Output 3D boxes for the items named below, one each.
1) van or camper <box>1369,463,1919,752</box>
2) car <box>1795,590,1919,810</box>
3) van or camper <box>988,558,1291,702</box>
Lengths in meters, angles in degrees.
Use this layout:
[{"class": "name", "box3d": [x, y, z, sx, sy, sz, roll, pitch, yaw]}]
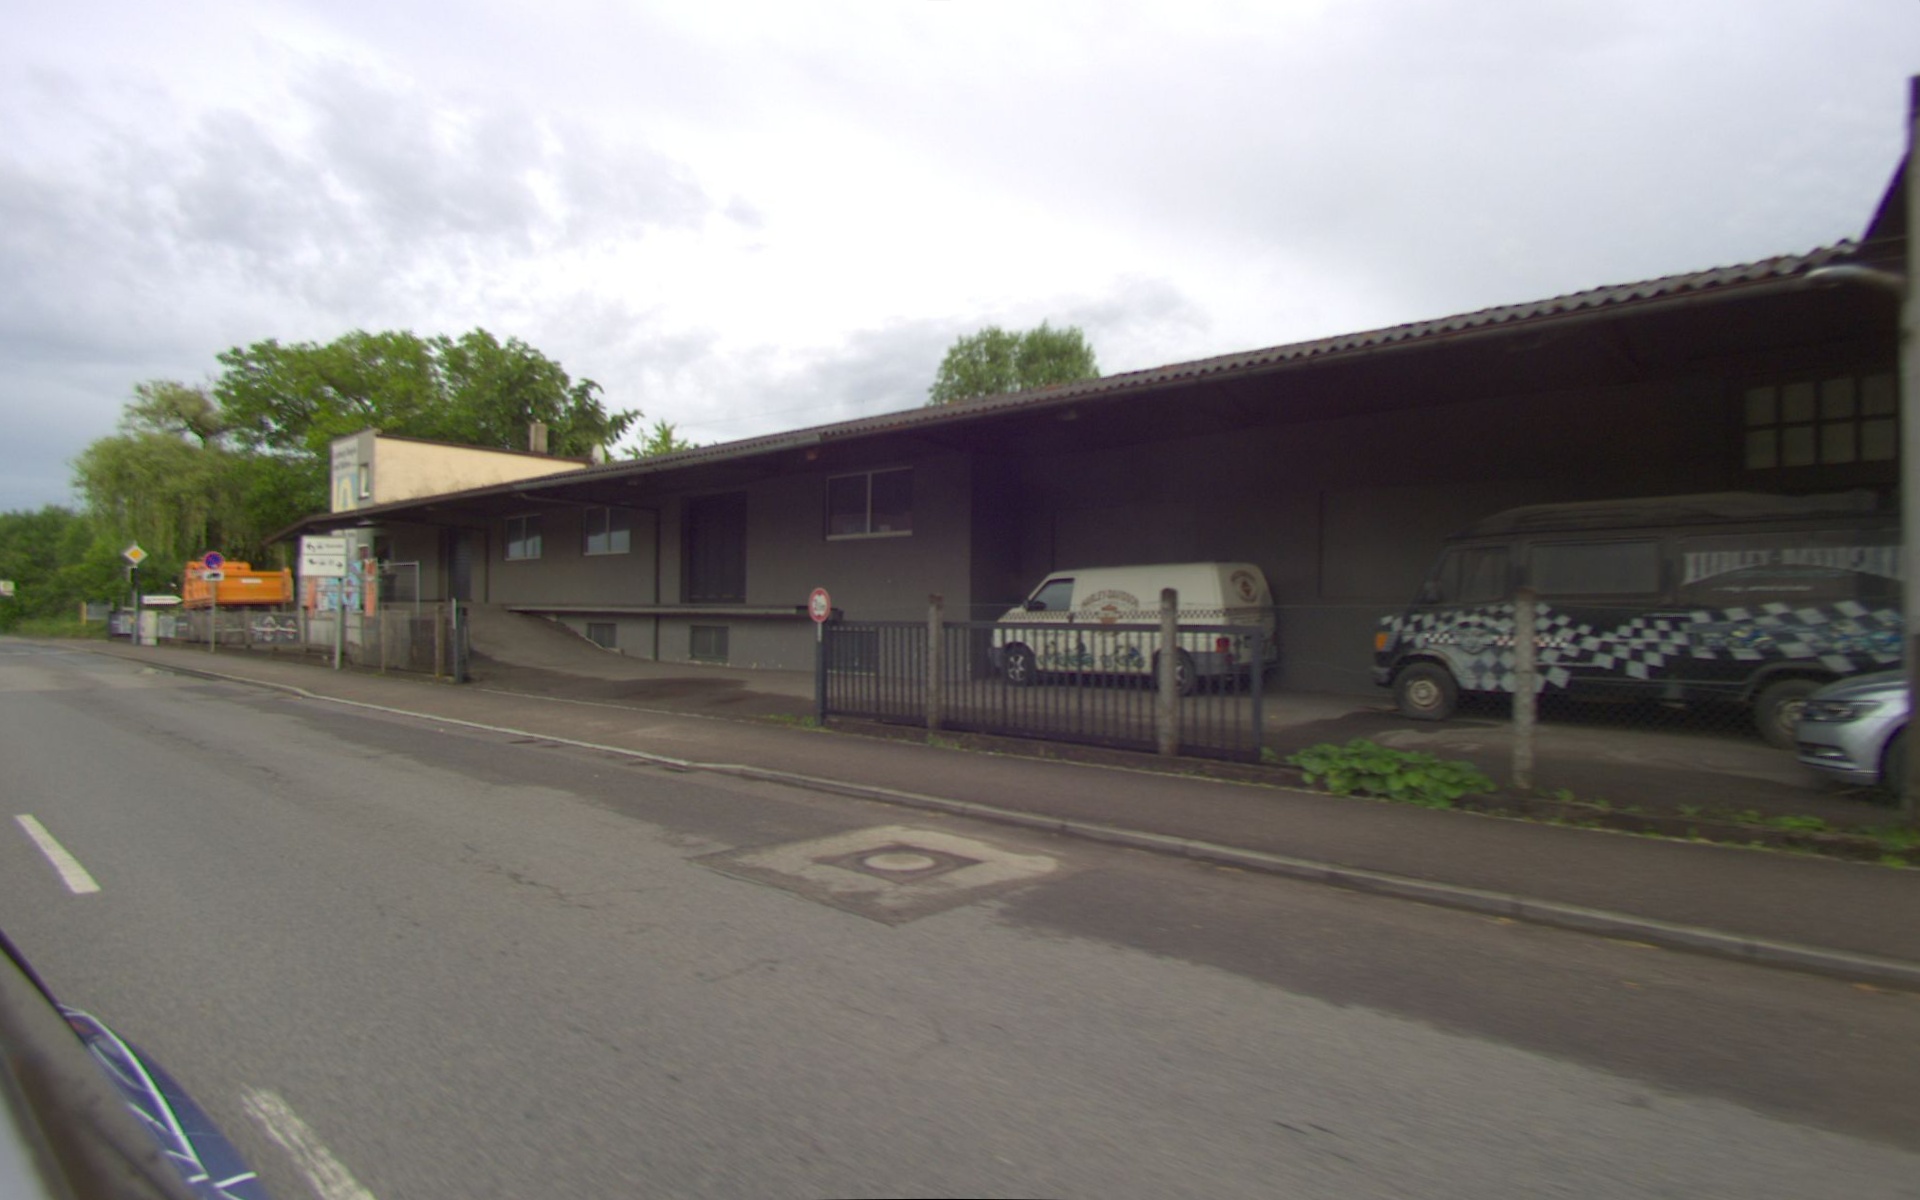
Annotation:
[{"class": "van or camper", "box3d": [7.391, 0.079, 10.875, 5.194, 2.509, 1.973, -1, 0, 40]}, {"class": "car", "box3d": [8.277, 0.642, 6.234, 4.786, 1.451, 1.810, -1, 0, 41]}, {"class": "van or camper", "box3d": [2.691, 0.420, 15.900, 4.375, 1.950, 1.900, -1, 0, 44]}]
